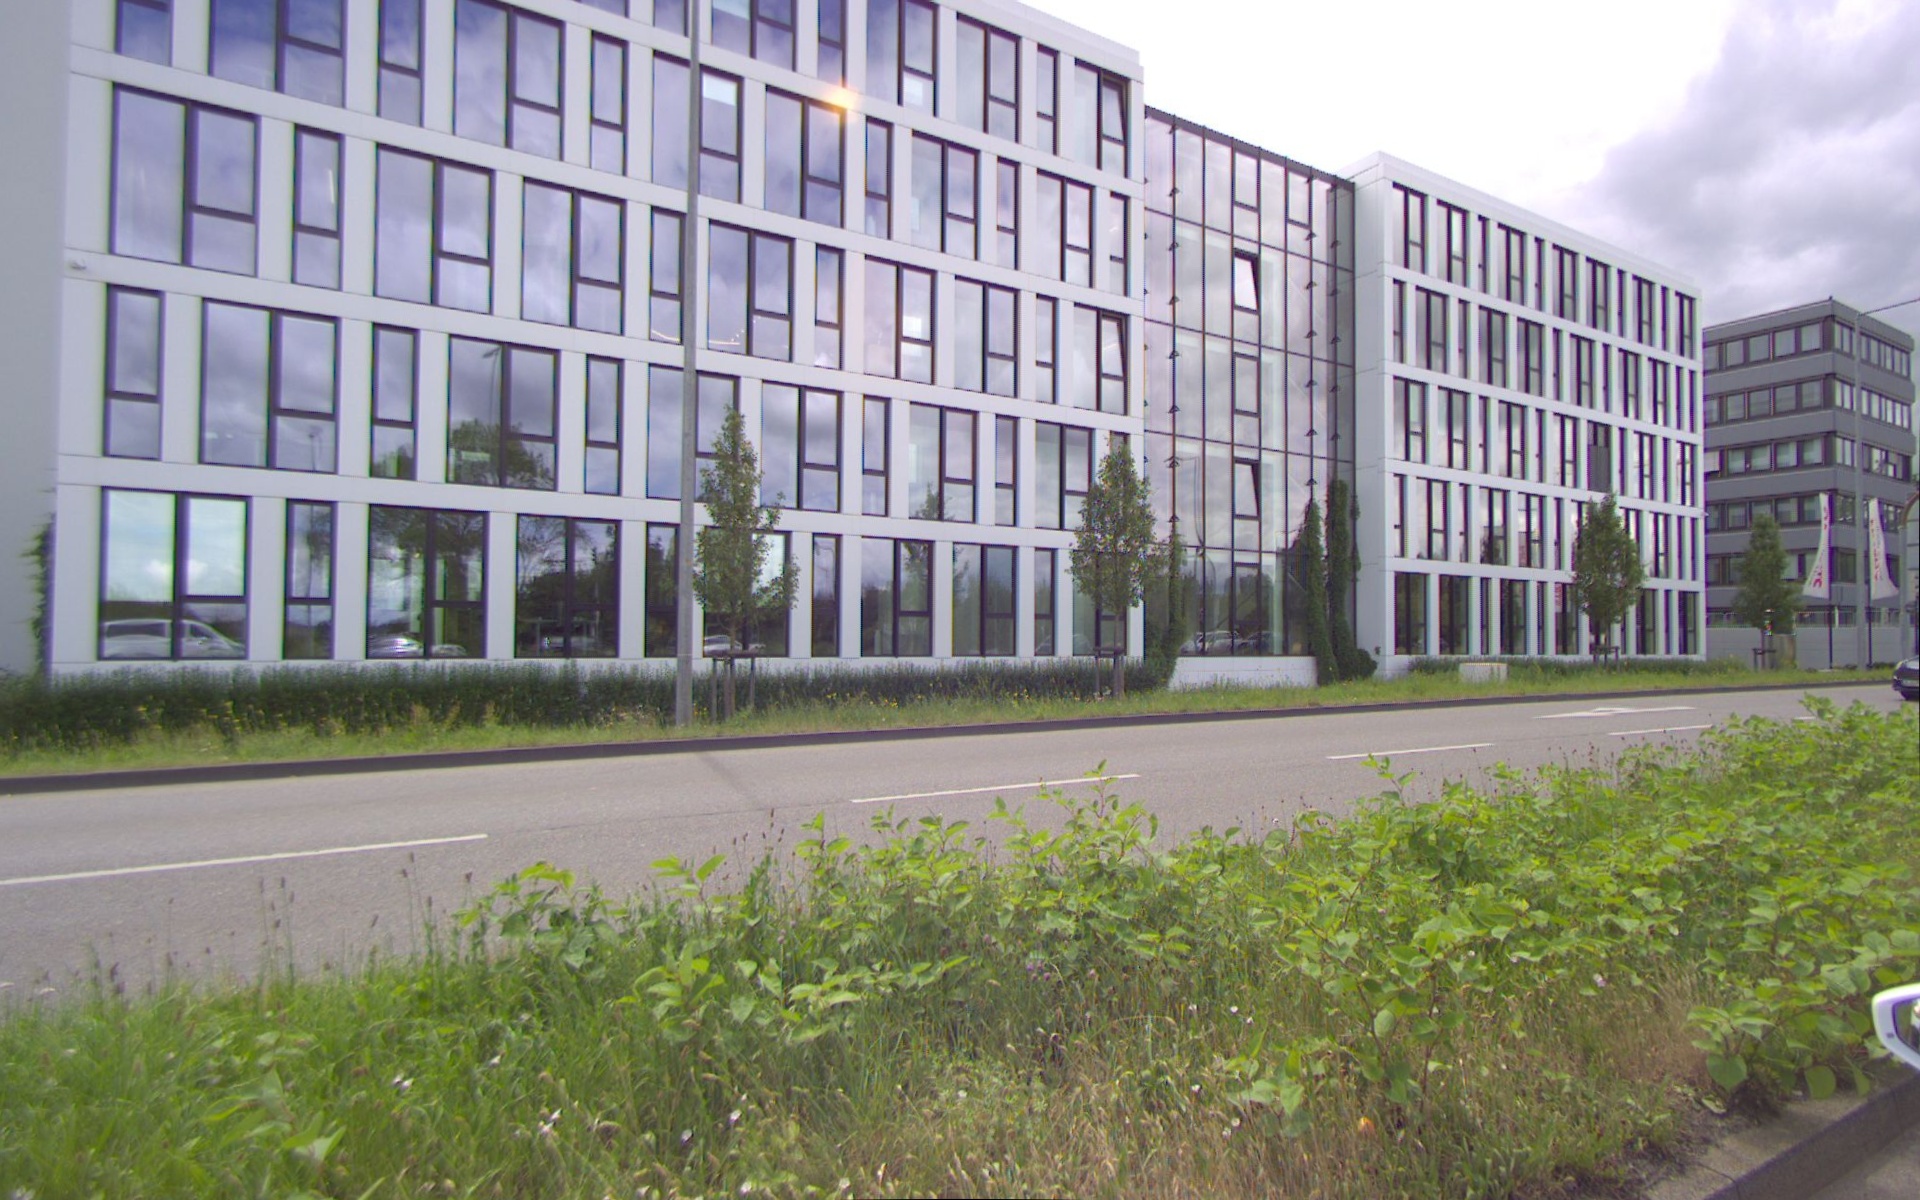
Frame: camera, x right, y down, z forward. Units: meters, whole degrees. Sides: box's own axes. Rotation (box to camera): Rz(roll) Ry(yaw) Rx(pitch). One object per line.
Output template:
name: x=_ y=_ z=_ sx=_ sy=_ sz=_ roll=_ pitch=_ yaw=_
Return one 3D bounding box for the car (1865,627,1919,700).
car: x=21.440 y=1.362 z=20.822 sx=3.816 sy=1.465 sz=1.760 roll=2 pitch=0 yaw=-2
